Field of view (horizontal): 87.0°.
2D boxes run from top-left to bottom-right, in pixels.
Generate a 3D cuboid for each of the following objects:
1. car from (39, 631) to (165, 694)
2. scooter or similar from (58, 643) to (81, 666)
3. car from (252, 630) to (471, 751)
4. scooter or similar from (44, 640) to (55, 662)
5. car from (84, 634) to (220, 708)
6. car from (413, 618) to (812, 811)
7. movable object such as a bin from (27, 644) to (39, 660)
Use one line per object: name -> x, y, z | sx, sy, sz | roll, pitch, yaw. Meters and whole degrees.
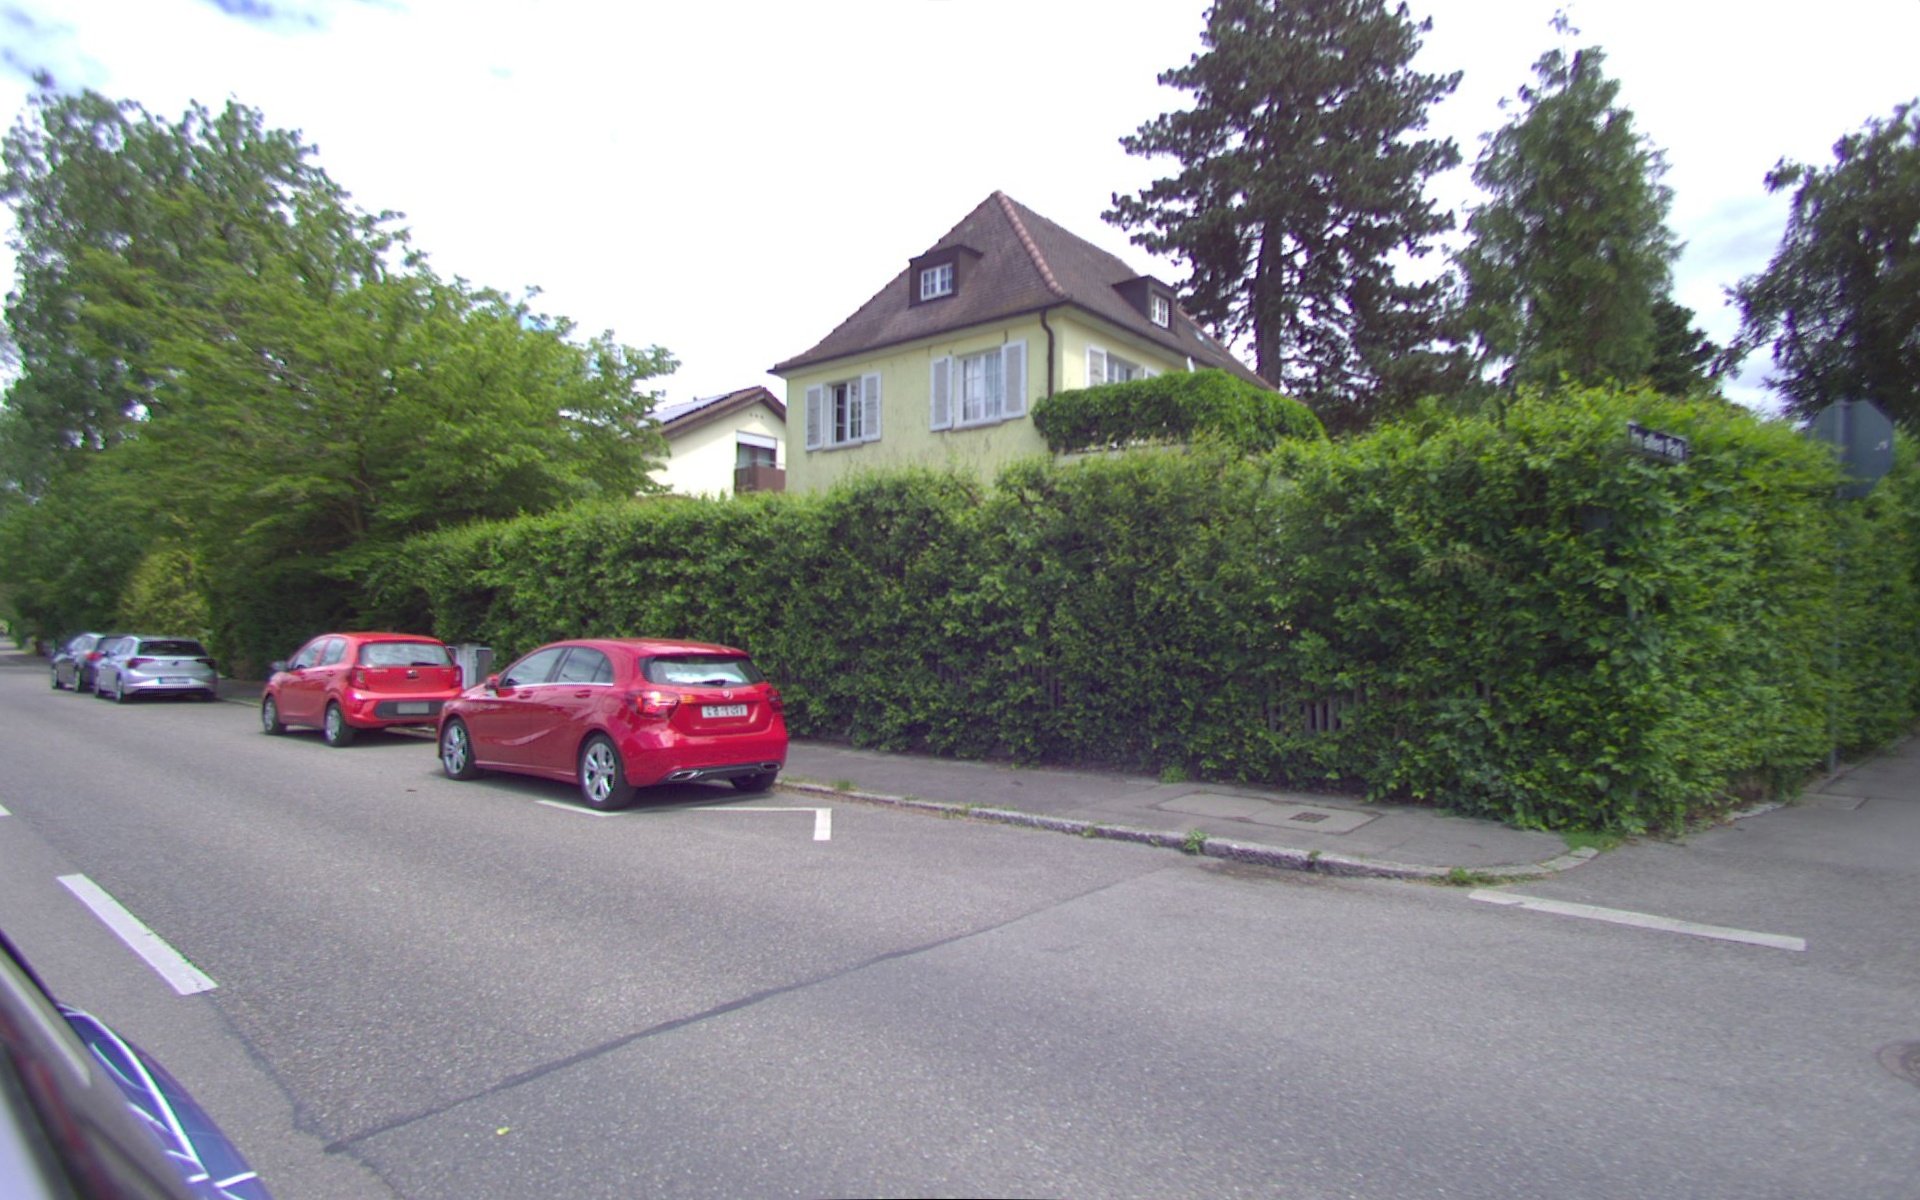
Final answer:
car -> -22.443, 1.597, 26.416 | 4.473, 1.516, 1.719 | -2, -4, 40
scooter or similar -> -44.928, 2.748, 51.074 | 1.208, 1.089, 0.474 | -1, -1, 28
car -> -8.563, 1.204, 14.389 | 3.511, 1.516, 1.572 | -2, -4, 40
scooter or similar -> -50.999, 2.870, 56.666 | 0.403, 1.208, 1.641 | 1, -2, -43
car -> -18.213, 1.540, 22.758 | 3.961, 1.516, 1.718 | -2, -4, 42
car -> -3.501, 0.968, 9.847 | 4.181, 1.482, 1.744 | -2, -3, 39
movable object such as a bin -> -55.212, 3.100, 60.258 | 0.507, 0.952, 0.569 | 0, -1, -45
